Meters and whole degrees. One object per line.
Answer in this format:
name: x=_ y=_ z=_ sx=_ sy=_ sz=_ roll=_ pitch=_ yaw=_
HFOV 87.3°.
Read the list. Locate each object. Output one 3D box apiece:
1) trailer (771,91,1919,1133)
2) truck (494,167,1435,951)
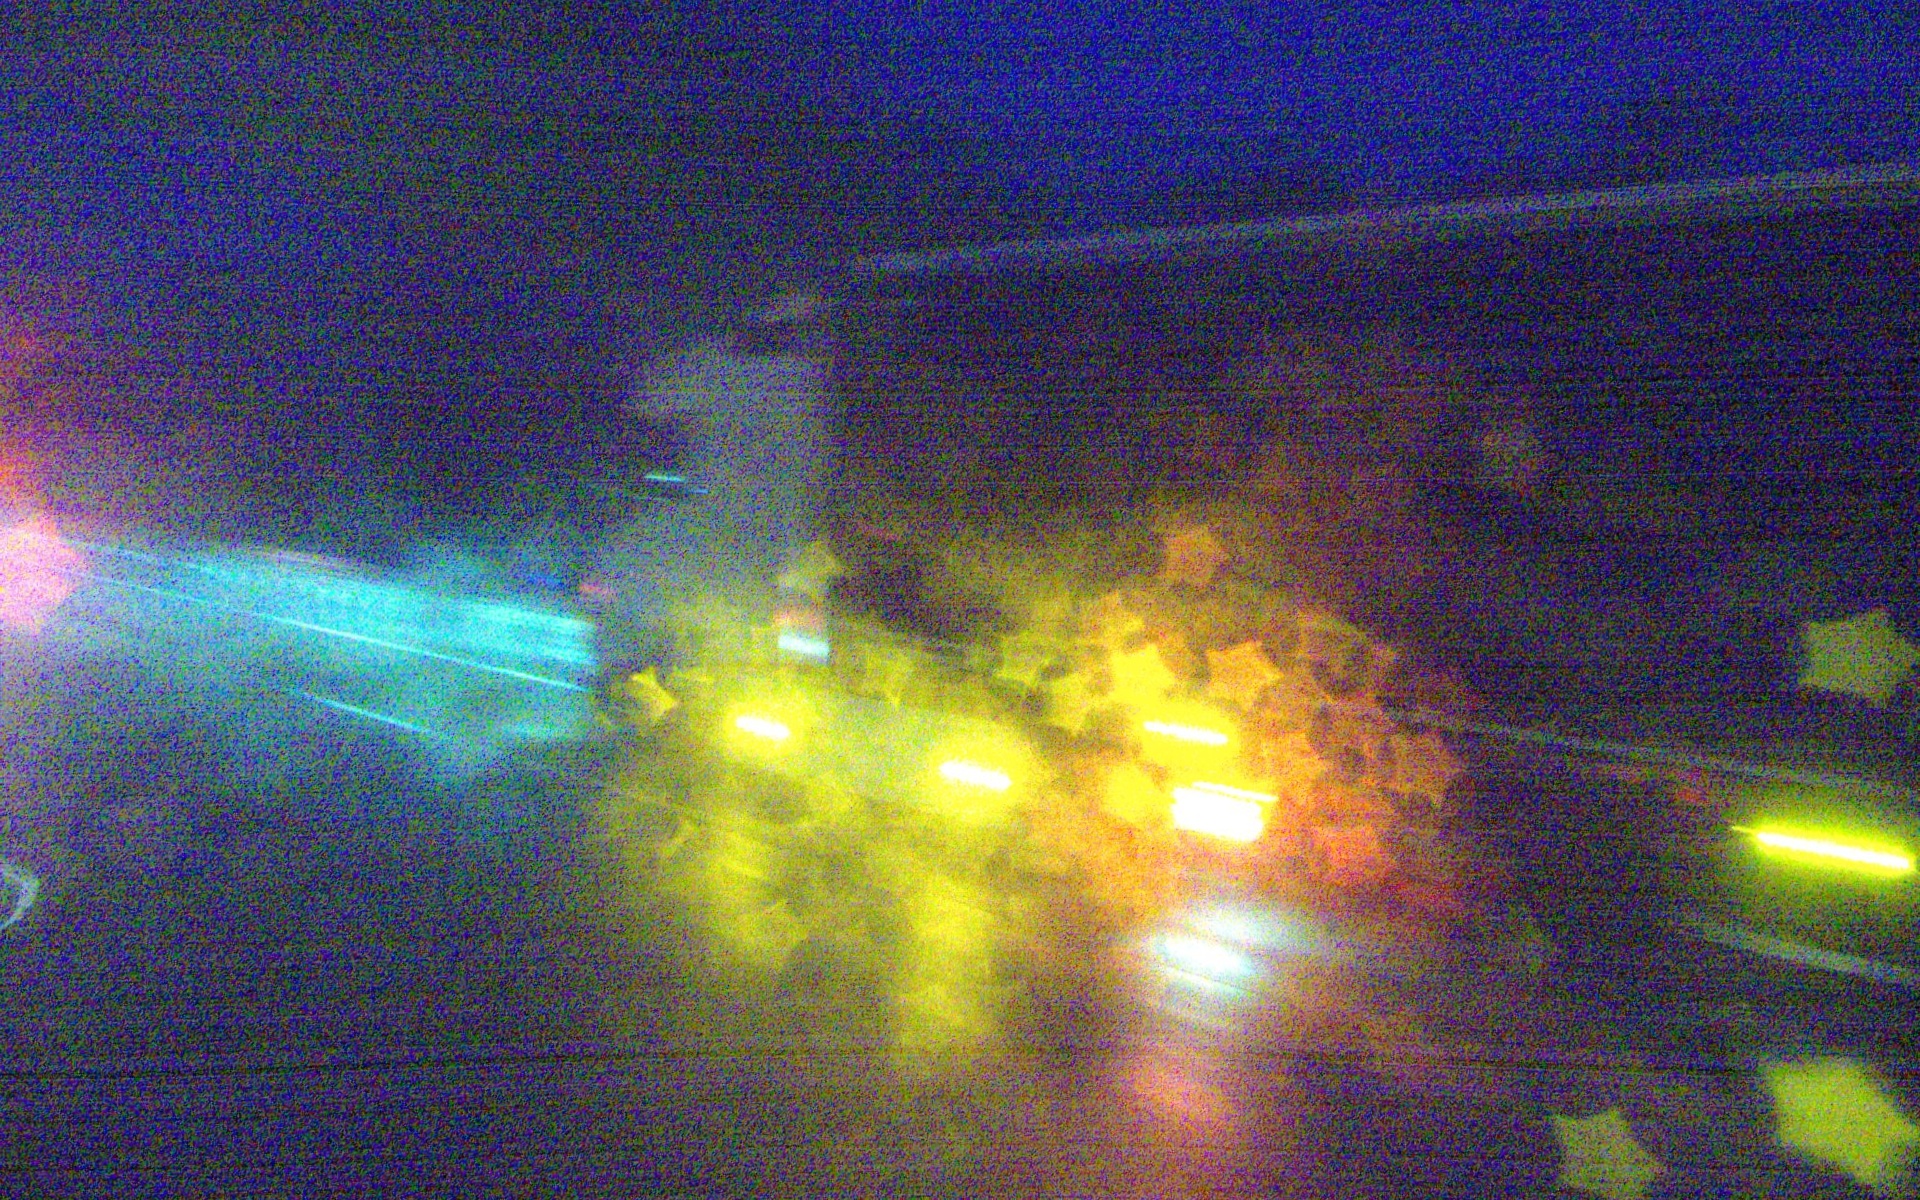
trailer: x=5.292 y=0.216 z=4.756 sx=13.417 sy=4.145 sz=2.870 roll=6 pitch=-2 yaw=32
truck: x=-0.243 y=-0.408 z=8.344 sx=6.898 sy=4.150 sz=2.865 roll=7 pitch=-2 yaw=32
